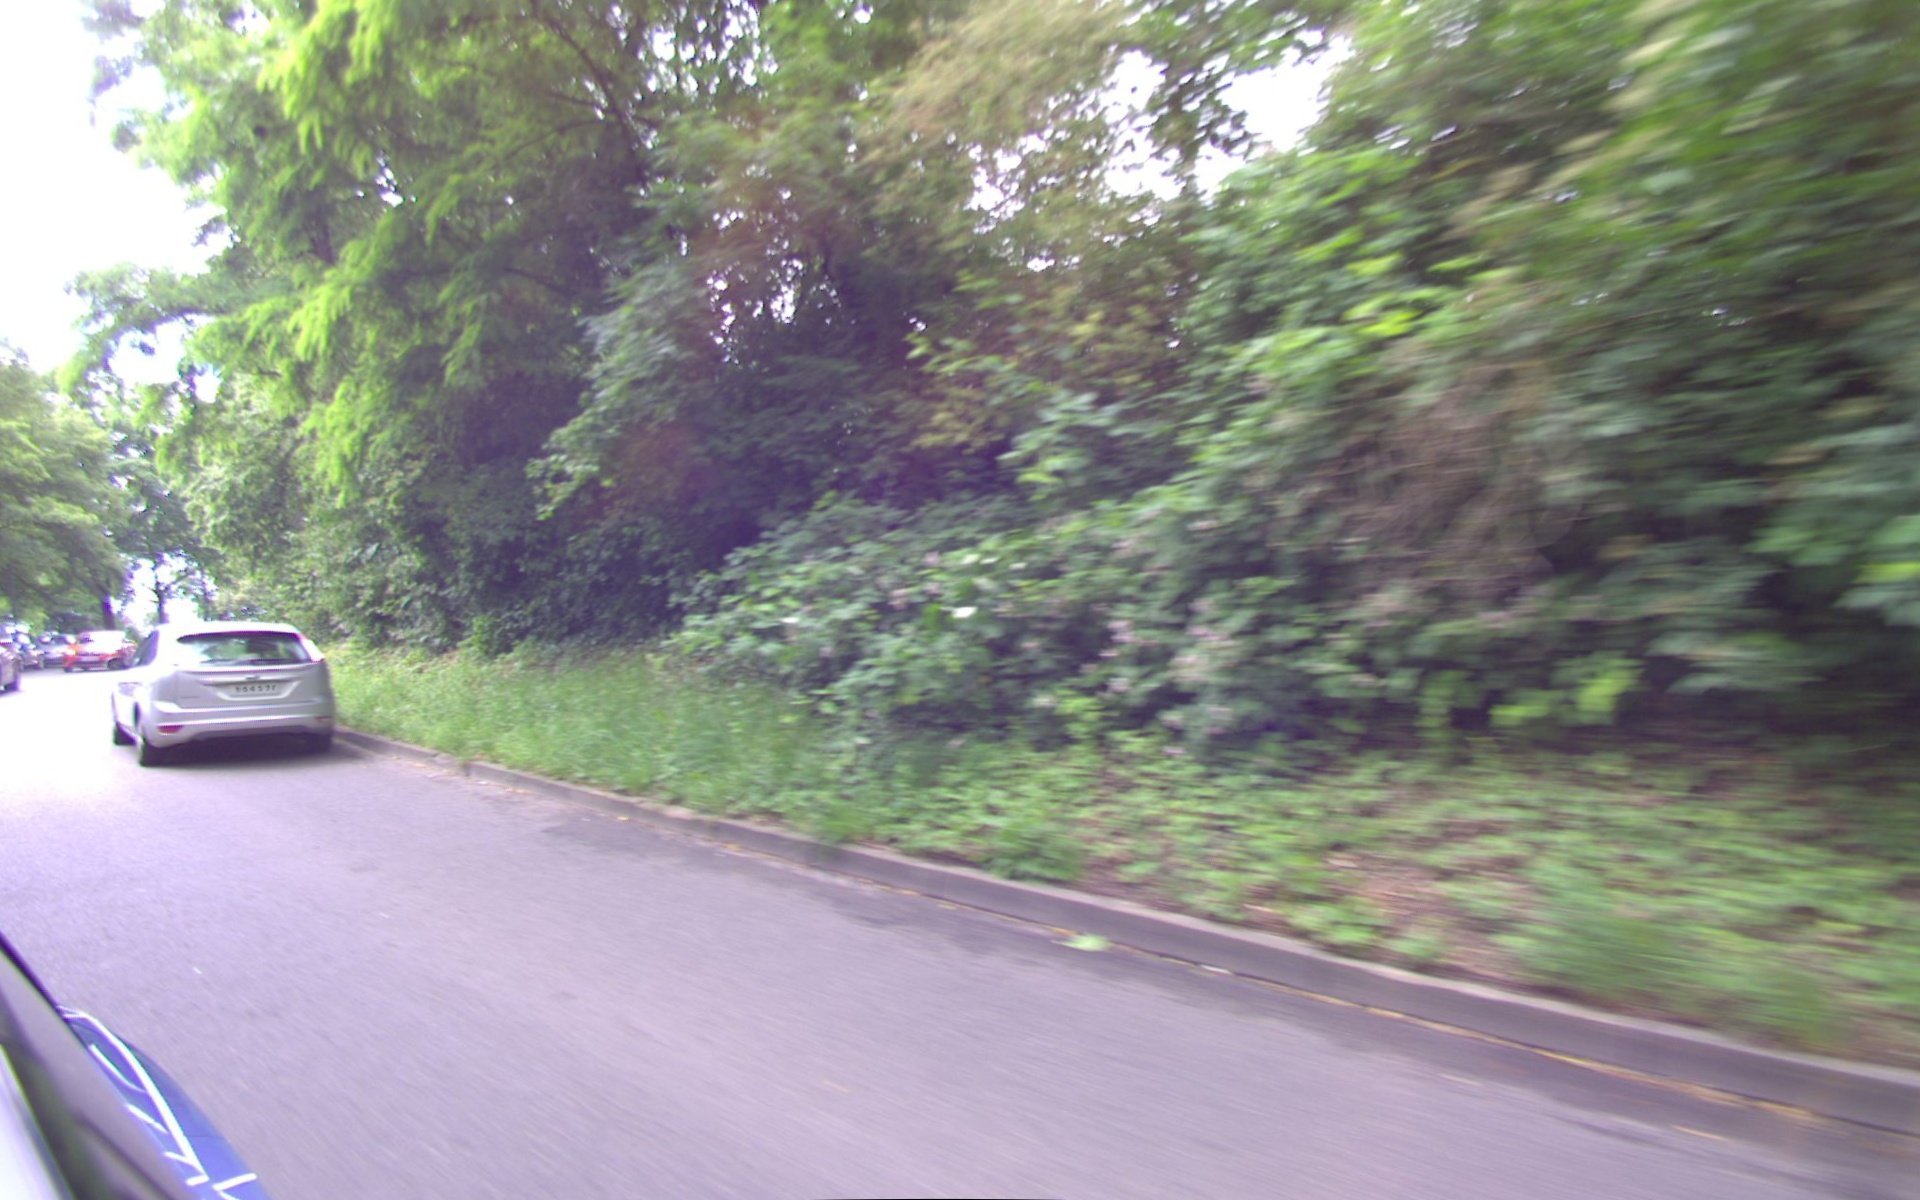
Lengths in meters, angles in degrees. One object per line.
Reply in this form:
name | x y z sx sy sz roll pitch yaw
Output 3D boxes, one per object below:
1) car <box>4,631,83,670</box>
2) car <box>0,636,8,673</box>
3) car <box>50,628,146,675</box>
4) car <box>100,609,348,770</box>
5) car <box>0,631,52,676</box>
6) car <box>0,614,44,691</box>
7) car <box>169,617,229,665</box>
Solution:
car | -39.044 2.110 43.227 1.687 1.432 4.690 -1 0 -32
car | -33.377 1.901 33.612 1.687 1.265 4.690 -1 0 -32
car | -31.593 1.827 37.245 1.926 1.483 4.691 -1 0 -31
car | -8.598 0.892 11.690 1.773 1.519 4.003 0 -1 -44
car | -35.795 1.997 38.043 1.687 1.522 4.690 -1 0 -32
car | -21.857 1.152 22.017 1.971 1.621 4.691 -1 0 -31
car | -31.121 1.630 41.471 1.797 1.740 4.322 -4 2 -36
